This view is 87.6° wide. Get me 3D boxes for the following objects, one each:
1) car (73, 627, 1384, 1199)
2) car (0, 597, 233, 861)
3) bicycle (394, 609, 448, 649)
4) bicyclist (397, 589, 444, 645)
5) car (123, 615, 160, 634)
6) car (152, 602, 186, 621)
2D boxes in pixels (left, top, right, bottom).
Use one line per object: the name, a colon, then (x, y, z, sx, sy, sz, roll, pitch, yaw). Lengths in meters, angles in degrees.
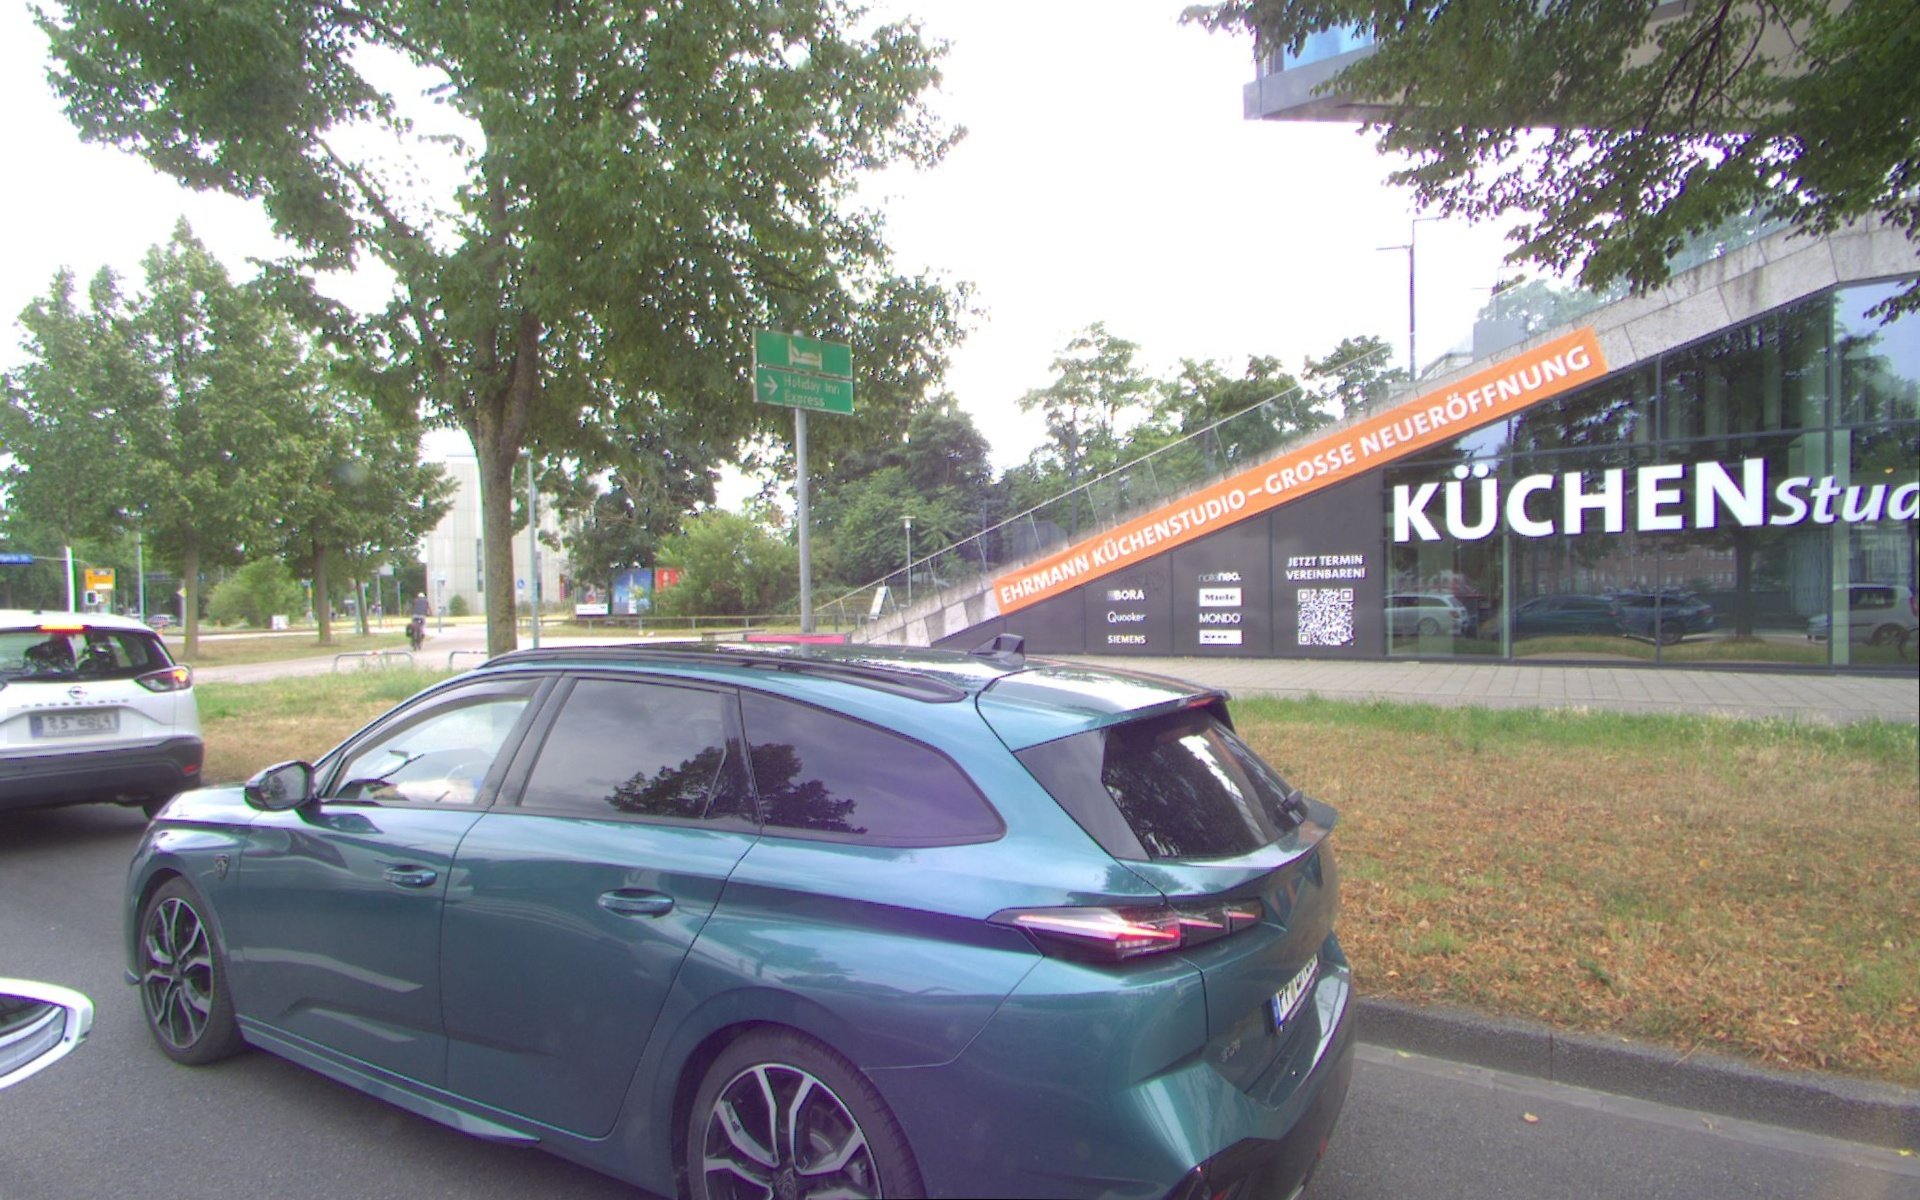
car: (-0.949, 0.839, 3.390, 4.245, 1.450, 1.786, 0, -1, 29)
car: (-7.413, 0.817, 7.590, 3.854, 1.646, 1.783, 0, 0, 33)
bicycle: (-17.751, 0.922, 33.029, 0.888, 1.251, 2.266, 0, 0, -11)
bicyclist: (-17.777, 0.533, 33.024, 0.981, 1.761, 1.127, -2, 3, -11)
car: (-81.502, 2.469, 99.774, 1.970, 1.813, 3.984, 1, -2, -27)
car: (-73.534, 1.065, 93.107, 1.763, 1.658, 4.379, -1, 0, -29)
